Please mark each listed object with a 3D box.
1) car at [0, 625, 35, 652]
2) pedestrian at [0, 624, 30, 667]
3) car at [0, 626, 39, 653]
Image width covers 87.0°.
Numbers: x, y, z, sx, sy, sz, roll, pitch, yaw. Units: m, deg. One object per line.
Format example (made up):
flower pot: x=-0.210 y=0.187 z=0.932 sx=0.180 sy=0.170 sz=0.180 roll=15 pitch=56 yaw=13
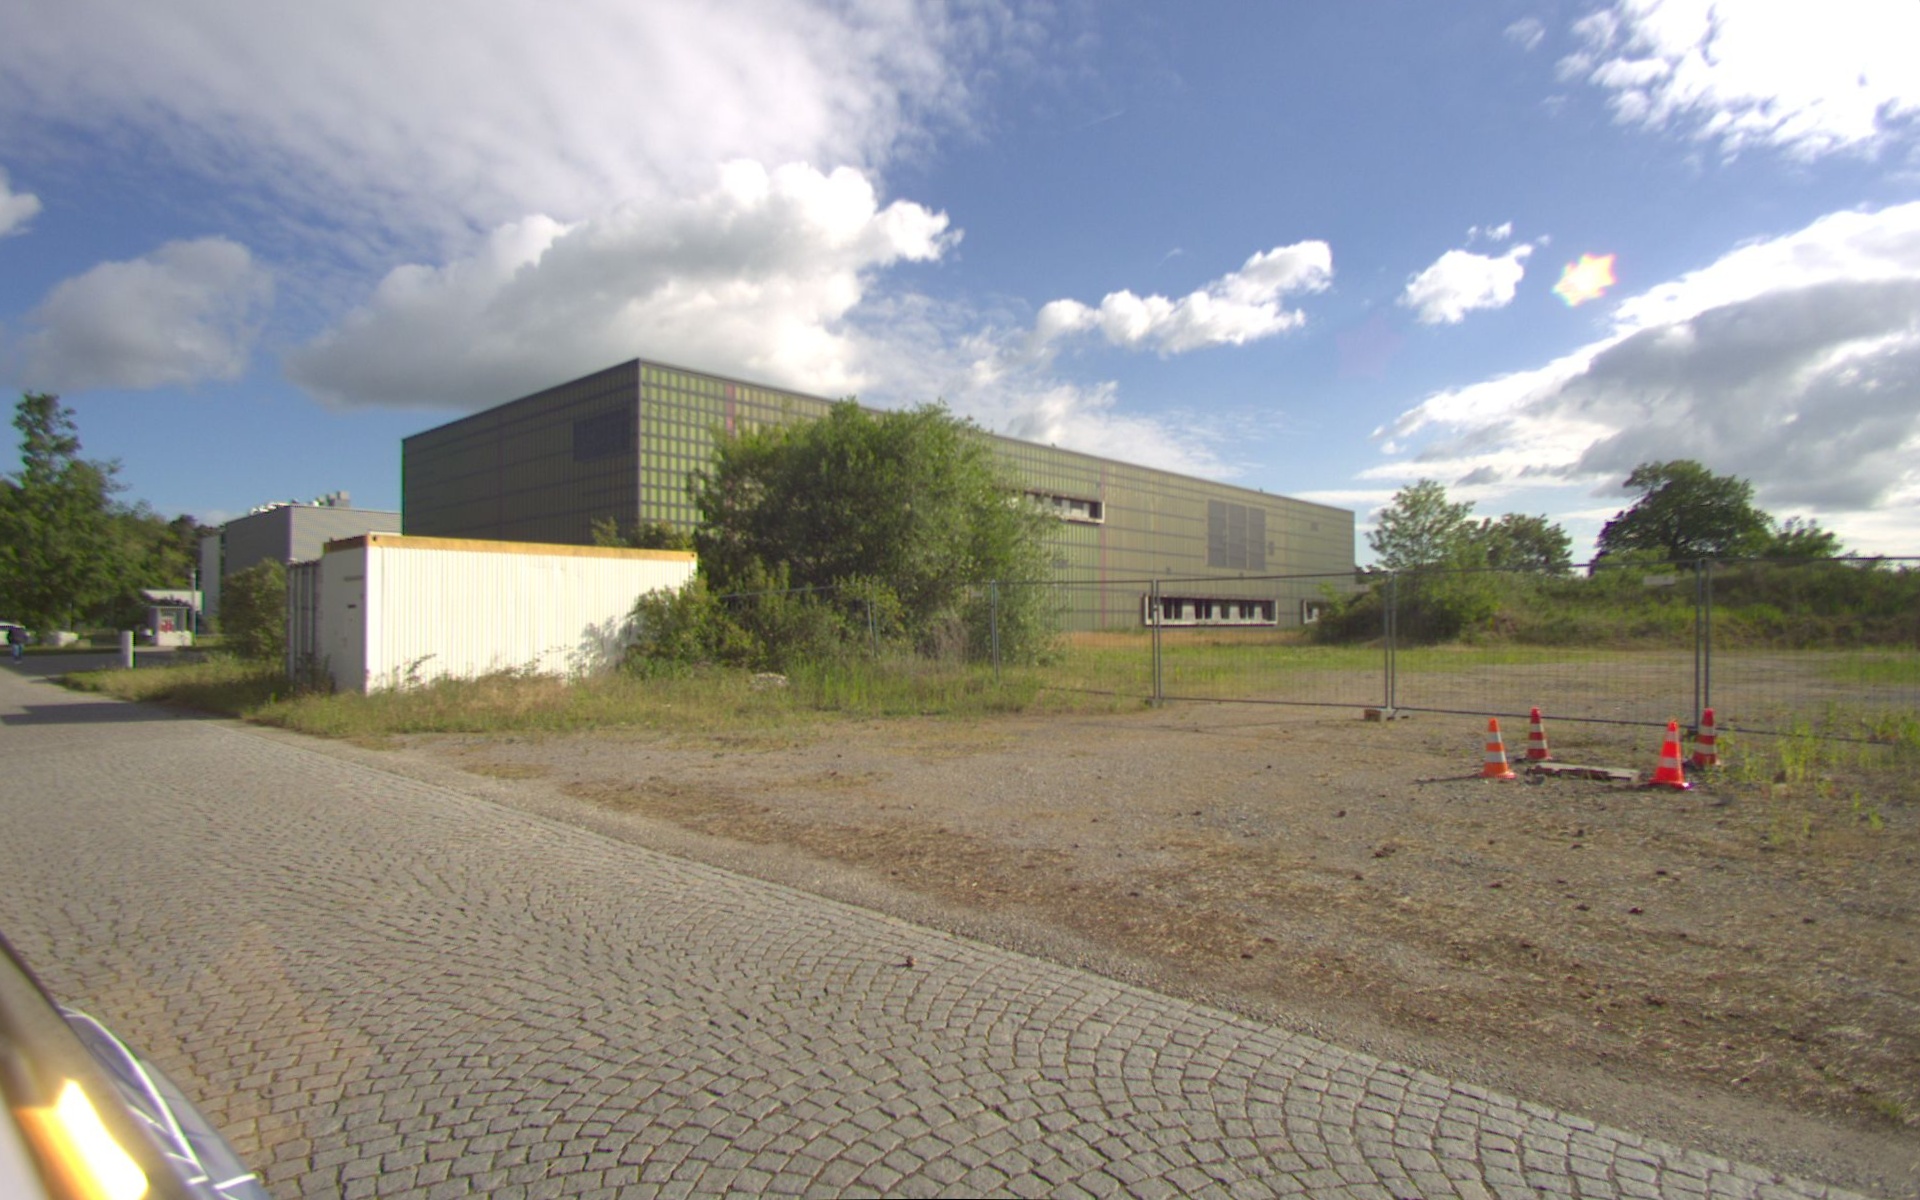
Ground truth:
car: x=-58.515 y=2.318 z=61.100 sx=3.939 sy=1.655 sz=2.002 roll=1 pitch=-2 yaw=-43
pedestrian: x=-35.561 y=1.707 z=37.977 sx=0.853 sy=1.571 sz=1.030 roll=1 pitch=-2 yaw=-37
car: x=-60.253 y=2.445 z=63.246 sx=3.939 sy=1.655 sz=2.002 roll=1 pitch=-2 yaw=-43
